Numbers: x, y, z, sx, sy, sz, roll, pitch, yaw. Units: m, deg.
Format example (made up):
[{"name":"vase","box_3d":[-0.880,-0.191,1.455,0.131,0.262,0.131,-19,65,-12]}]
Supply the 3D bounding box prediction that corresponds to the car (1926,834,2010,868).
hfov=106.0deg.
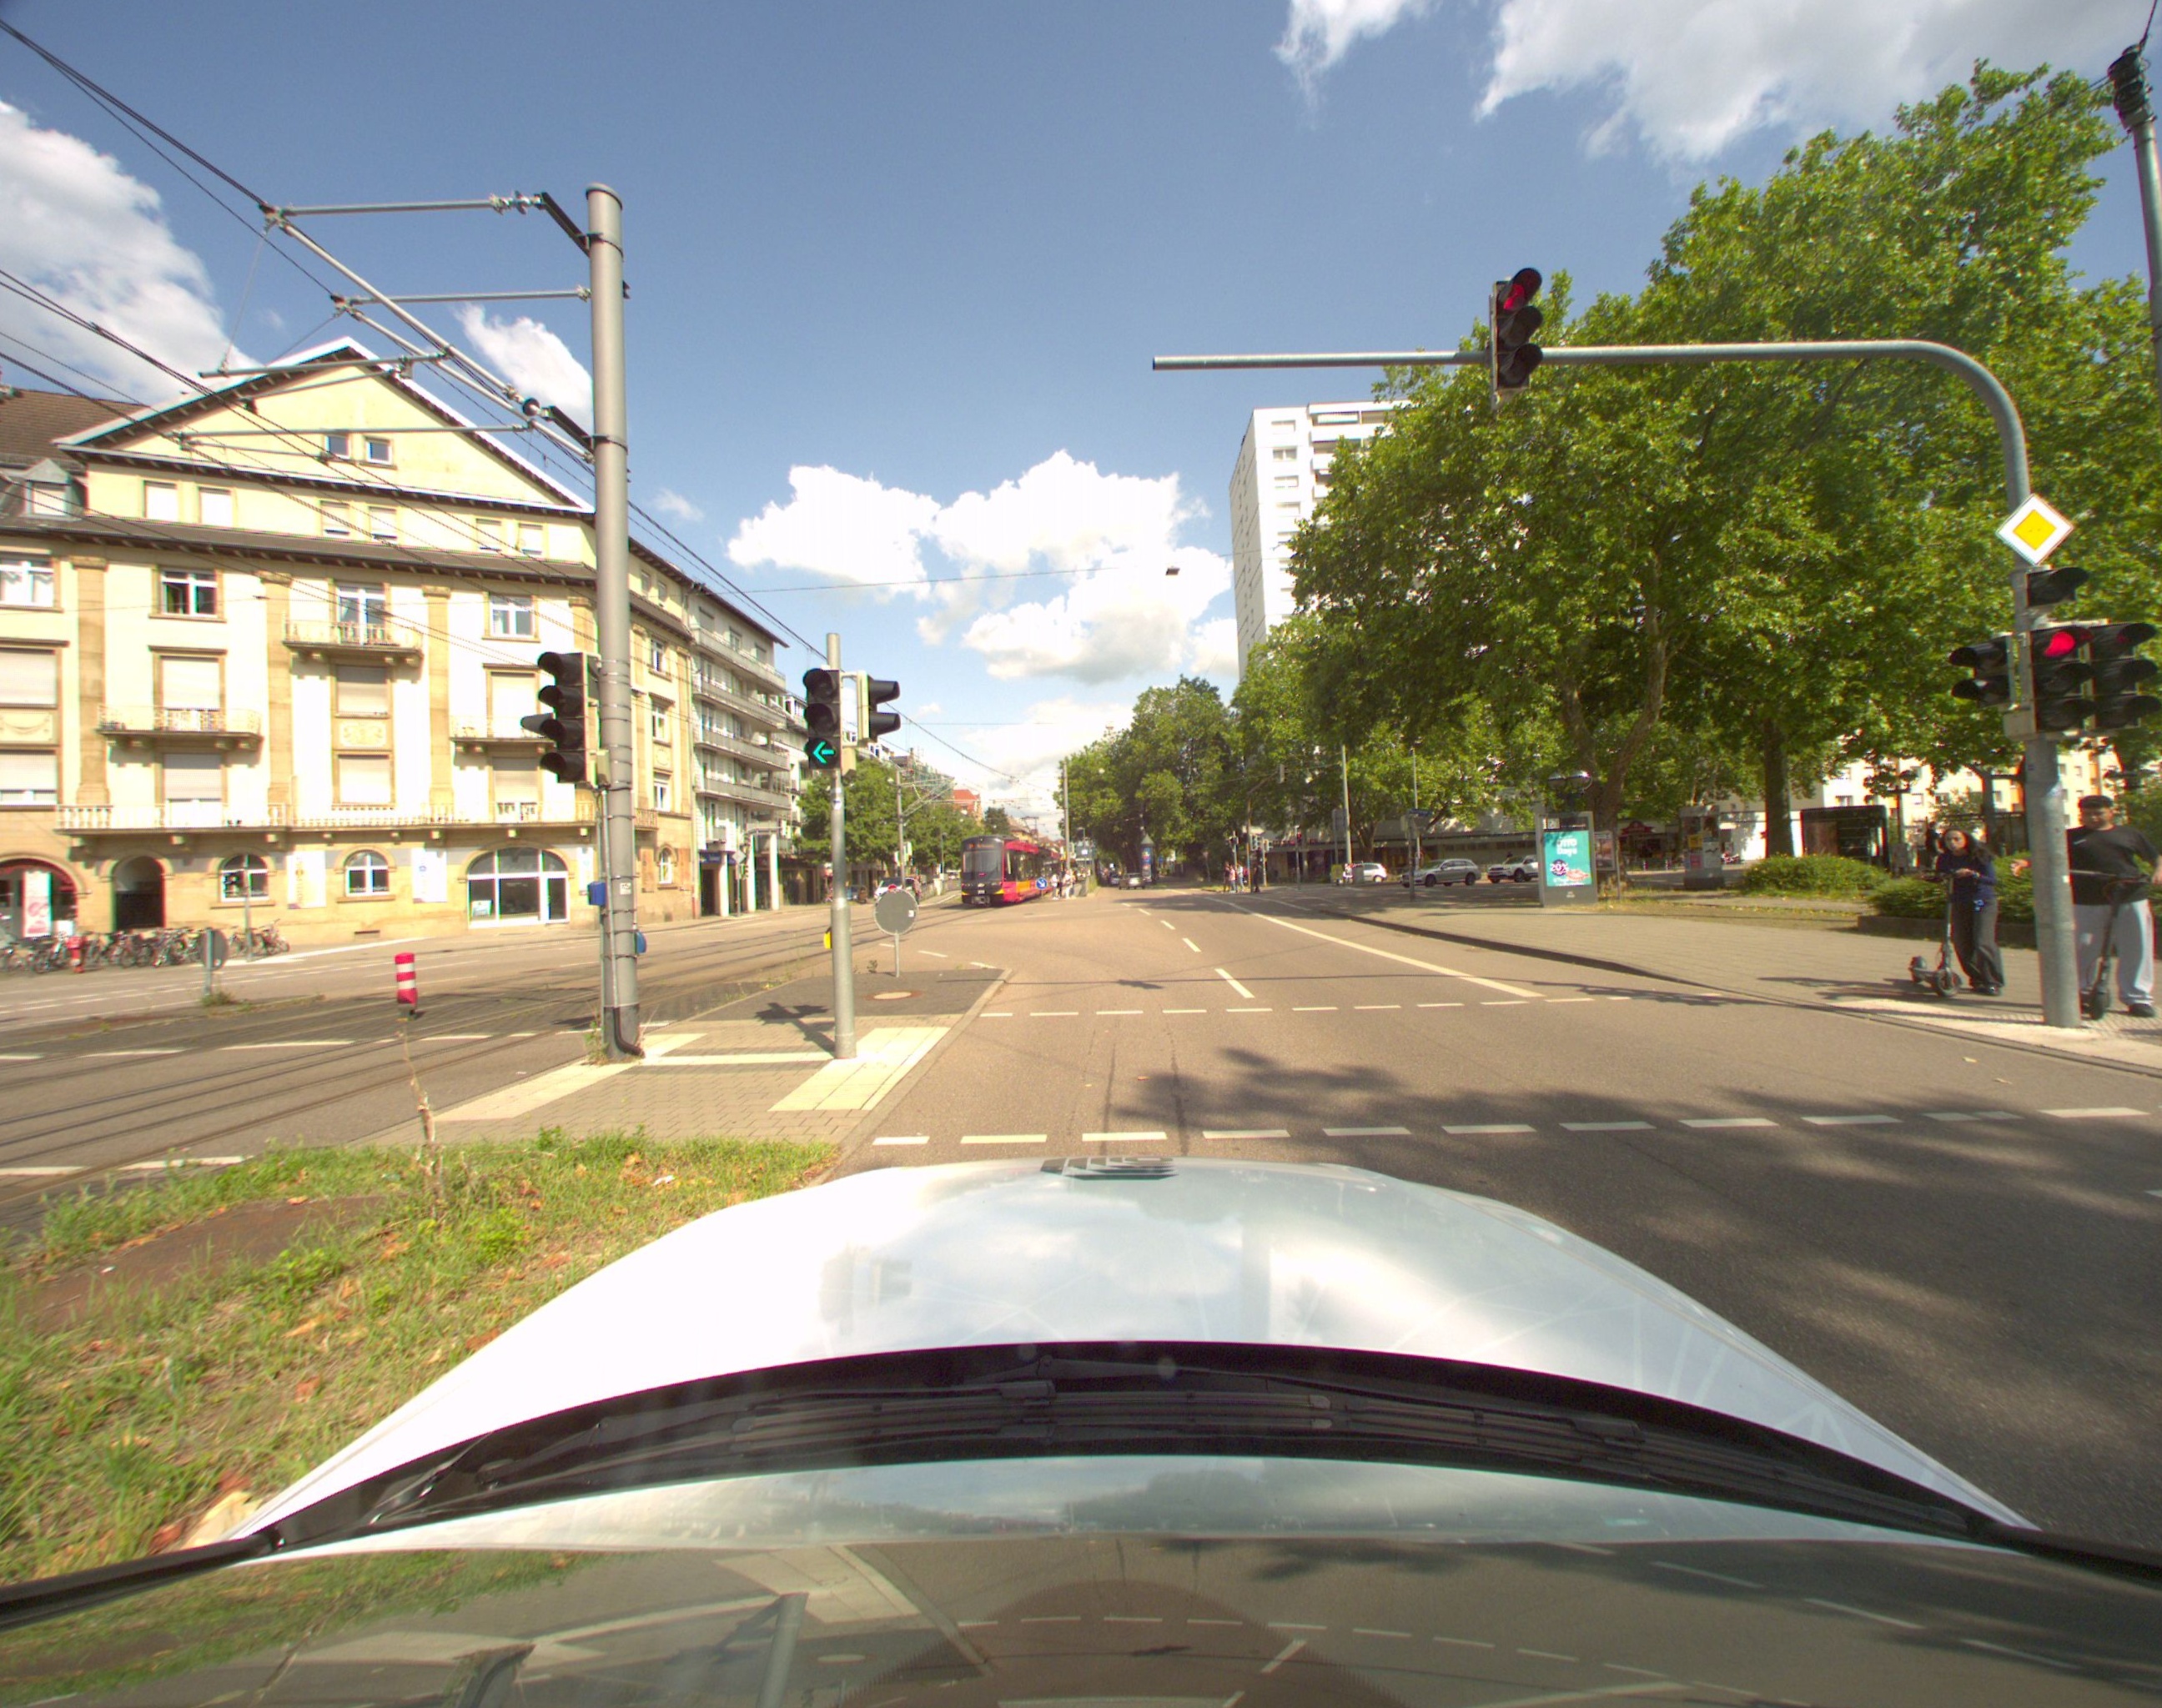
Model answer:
[{"name":"car","box_3d":[46.626,-0.145,42.805,4.004,1.501,1.678,-3,-1,-22]}]

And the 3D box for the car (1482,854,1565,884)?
[{"name":"car","box_3d":[24.989,0.859,46.031,4.076,1.490,1.848,-2,-2,-20]}]

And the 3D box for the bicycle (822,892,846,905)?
[{"name":"bicycle","box_3d":[-19.958,3.579,65.791,1.684,0.986,0.497,-3,-2,-2]}]

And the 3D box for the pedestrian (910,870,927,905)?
[{"name":"pedestrian","box_3d":[-9.565,1.963,48.038,0.734,2.014,0.705,-3,-2,7]}]

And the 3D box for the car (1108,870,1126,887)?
[{"name":"car","box_3d":[4.284,2.955,98.212,1.986,2.014,4.000,-1,-1,1]}]

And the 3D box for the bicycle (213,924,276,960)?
[{"name":"bicycle","box_3d":[-29.148,3.044,28.415,0.609,1.018,1.868,-2,0,-14]}]

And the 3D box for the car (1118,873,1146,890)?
[{"name":"car","box_3d":[4.539,2.462,73.000,1.747,1.453,3.595,-3,-1,-8]}]

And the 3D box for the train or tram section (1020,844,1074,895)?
[{"name":"train or tram section","box_3d":[-2.523,1.234,65.366,2.793,3.561,12.170,-3,-1,4]}]

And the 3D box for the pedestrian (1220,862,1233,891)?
[{"name":"pedestrian","box_3d":[8.625,1.351,48.271,0.512,1.671,0.553,-2,-2,-19]}]

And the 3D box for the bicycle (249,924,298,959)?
[{"name":"bicycle","box_3d":[-28.399,3.059,28.669,0.611,1.018,1.861,-2,1,-26]}]

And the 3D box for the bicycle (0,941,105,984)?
[{"name":"bicycle","box_3d":[-31.167,3.262,24.673,1.939,1.018,0.534,-3,1,-40]}]

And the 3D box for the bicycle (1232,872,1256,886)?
[{"name":"bicycle","box_3d":[12.503,1.937,62.494,1.661,1.089,0.485,-1,-2,29]}]

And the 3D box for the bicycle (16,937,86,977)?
[{"name":"bicycle","box_3d":[-33.264,3.314,26.329,0.541,1.018,1.913,-2,1,-24]}]

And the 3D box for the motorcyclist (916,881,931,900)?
[{"name":"motorcyclist","box_3d":[-12.130,2.796,62.746,0.890,1.404,1.088,-3,-2,2]}]

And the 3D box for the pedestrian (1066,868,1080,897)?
[{"name":"pedestrian","box_3d":[-0.477,1.728,49.052,0.666,1.703,0.649,-3,-2,4]}]

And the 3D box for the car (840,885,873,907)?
[{"name":"car","box_3d":[-20.175,3.754,73.281,1.840,1.790,4.000,0,-1,1]}]

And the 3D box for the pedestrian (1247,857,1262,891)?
[{"name":"pedestrian","box_3d":[9.516,1.105,44.715,0.475,1.825,0.560,-4,-2,44]}]

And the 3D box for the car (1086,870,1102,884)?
[{"name":"car","box_3d":[1.779,3.193,112.068,1.807,1.804,4.005,-3,-1,4]}]

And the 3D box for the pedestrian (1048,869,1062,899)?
[{"name":"pedestrian","box_3d":[-1.485,1.725,47.077,0.666,1.703,0.649,-3,-2,4]}]

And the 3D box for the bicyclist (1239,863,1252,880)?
[{"name":"bicyclist","box_3d":[12.611,1.328,62.460,0.804,1.251,0.485,-1,-2,29]}]

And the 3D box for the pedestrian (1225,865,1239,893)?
[{"name":"pedestrian","box_3d":[8.861,1.446,47.702,0.512,1.598,0.553,-2,-2,-19]}]

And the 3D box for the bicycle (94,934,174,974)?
[{"name":"bicycle","box_3d":[-30.730,3.216,26.472,0.538,1.018,1.922,-2,1,-9]}]

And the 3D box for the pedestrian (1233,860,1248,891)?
[{"name":"pedestrian","box_3d":[9.081,1.249,46.401,0.529,1.735,0.553,-2,-2,-19]}]

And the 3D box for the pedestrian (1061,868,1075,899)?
[{"name":"pedestrian","box_3d":[-0.765,1.693,46.977,0.666,1.703,0.649,-3,-2,4]}]

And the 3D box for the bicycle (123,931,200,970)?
[{"name":"bicycle","box_3d":[-30.220,3.166,26.801,0.538,1.018,1.922,-2,0,-9]}]

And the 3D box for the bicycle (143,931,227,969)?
[{"name":"bicycle","box_3d":[-29.440,3.135,26.797,0.598,1.018,1.878,-2,0,3]}]

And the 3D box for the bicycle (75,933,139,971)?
[{"name":"bicycle","box_3d":[-32.337,3.240,27.076,0.541,1.018,1.913,-2,1,-24]}]

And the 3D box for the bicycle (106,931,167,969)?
[{"name":"bicycle","box_3d":[-31.716,3.211,27.384,0.541,1.018,1.913,-2,1,-24]}]

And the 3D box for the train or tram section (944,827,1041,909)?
[{"name":"train or tram section","box_3d":[-4.296,0.756,42.468,2.783,3.561,11.389,-3,-1,4]}]

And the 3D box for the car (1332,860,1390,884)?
[{"name":"car","box_3d":[19.590,1.242,57.094,3.633,1.484,1.743,-3,-2,14]}]

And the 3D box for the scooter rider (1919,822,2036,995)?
[{"name":"scooter rider","box_3d":[8.700,0.511,7.915,0.438,1.593,0.541,-4,-1,-20]}]

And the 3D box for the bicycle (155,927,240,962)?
[{"name":"bicycle","box_3d":[-30.752,3.125,28.383,1.929,1.018,0.536,-2,1,-20]}]

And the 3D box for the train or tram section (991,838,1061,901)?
[{"name":"train or tram section","box_3d":[-3.392,1.014,53.742,2.793,3.561,11.194,-3,-1,4]}]

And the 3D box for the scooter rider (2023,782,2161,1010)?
[{"name":"scooter rider","box_3d":[8.579,0.341,6.838,0.538,1.810,0.684,-5,-2,27]}]

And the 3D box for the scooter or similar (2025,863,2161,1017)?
[{"name":"scooter or similar","box_3d":[8.603,0.695,6.822,0.538,1.171,0.882,-5,-1,27]}]

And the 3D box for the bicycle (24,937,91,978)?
[{"name":"bicycle","box_3d":[-32.349,3.256,25.772,0.541,1.018,1.911,-2,1,-27]}]

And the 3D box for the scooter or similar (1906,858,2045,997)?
[{"name":"scooter or similar","box_3d":[8.651,0.686,7.884,0.877,1.226,0.541,-4,-1,-21]}]

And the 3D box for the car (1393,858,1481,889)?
[{"name":"car","box_3d":[19.022,1.046,43.568,3.994,1.490,1.851,-2,-2,-15]}]

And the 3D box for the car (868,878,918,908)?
[{"name":"car","box_3d":[-12.888,2.645,56.096,1.986,1.891,5.174,-3,-1,2]}]
